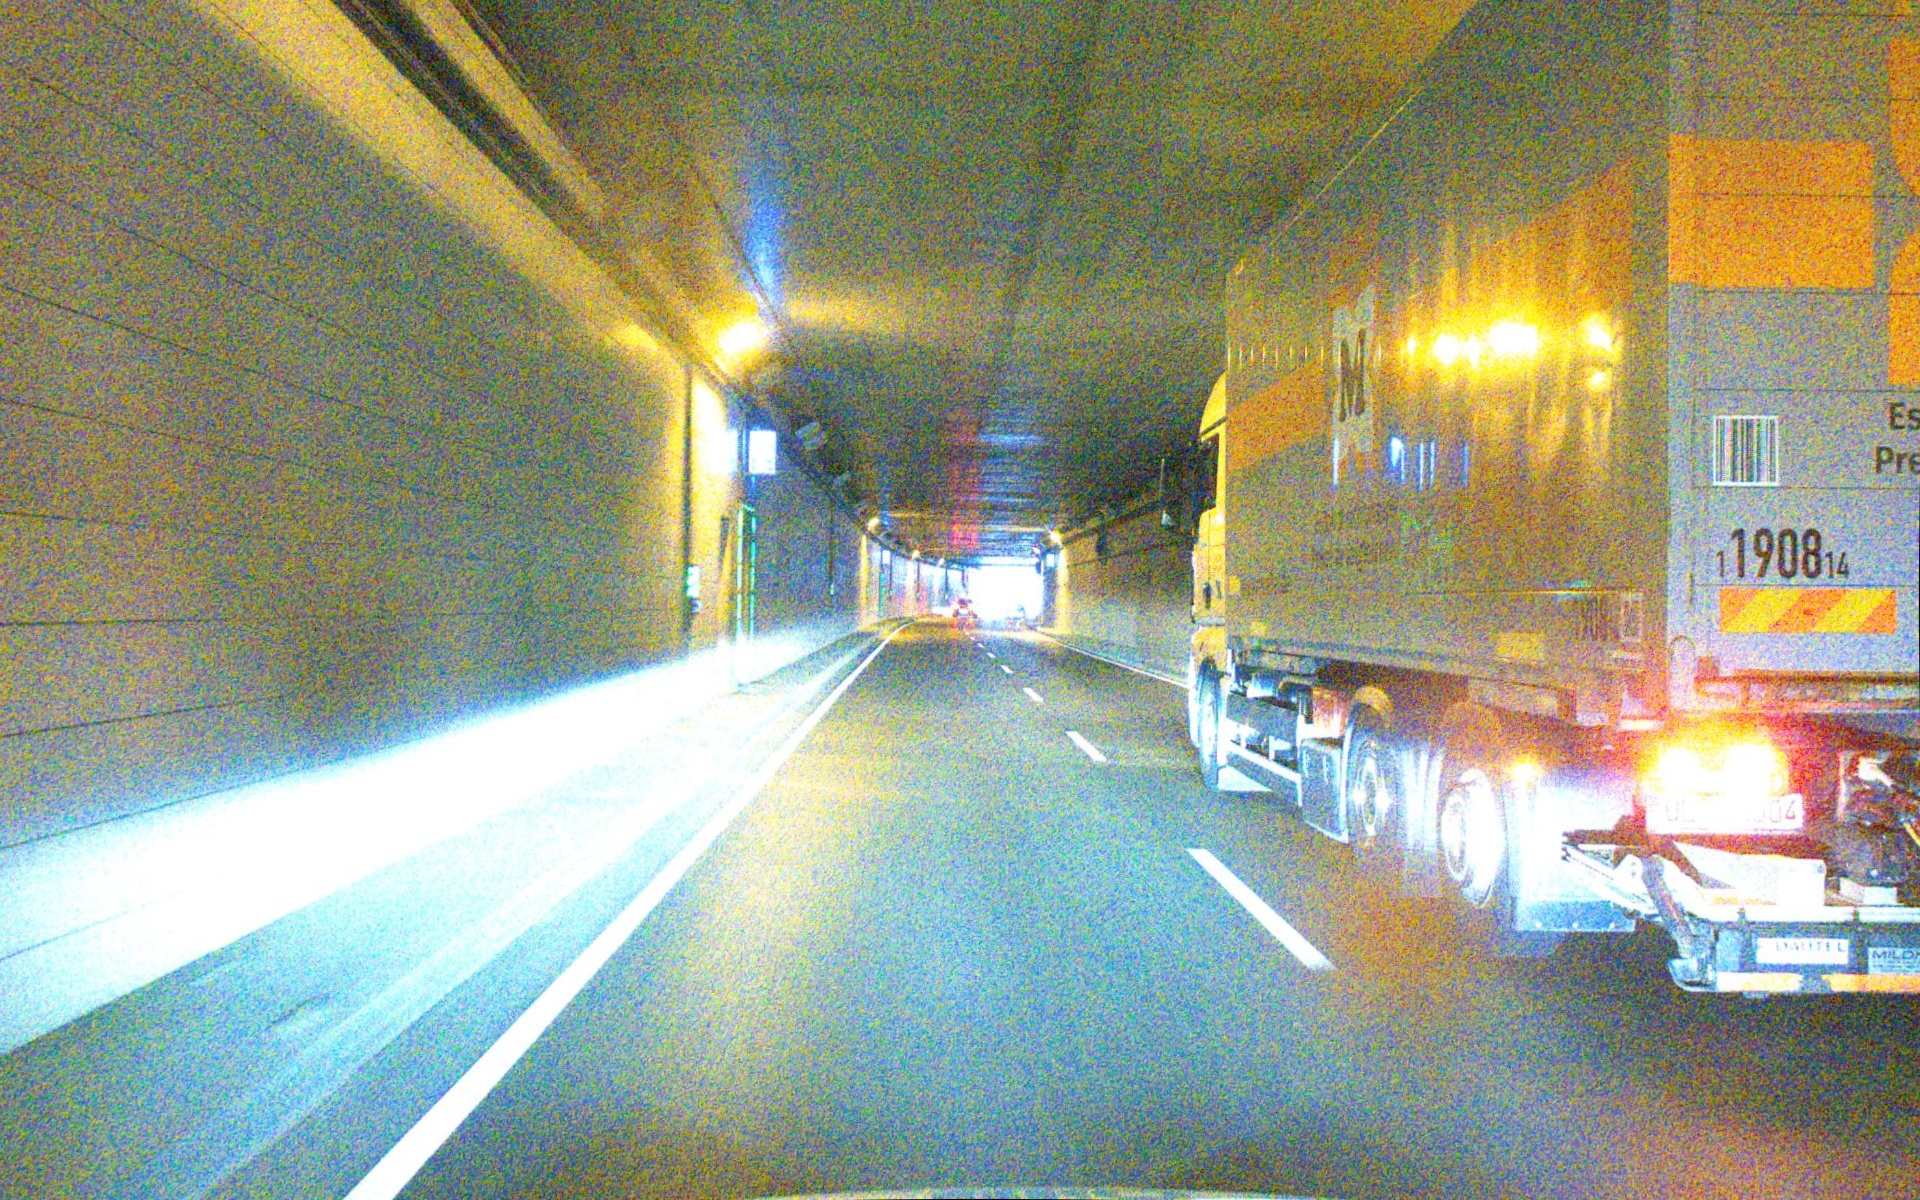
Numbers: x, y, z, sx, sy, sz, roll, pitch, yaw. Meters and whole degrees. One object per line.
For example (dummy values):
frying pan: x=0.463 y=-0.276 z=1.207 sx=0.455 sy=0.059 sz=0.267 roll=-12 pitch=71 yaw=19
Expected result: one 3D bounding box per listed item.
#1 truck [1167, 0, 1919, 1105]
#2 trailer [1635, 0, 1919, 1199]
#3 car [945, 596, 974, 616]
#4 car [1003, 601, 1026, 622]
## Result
truck: x=3.366 y=-0.484 z=9.882 sx=2.830 sy=3.982 sz=9.907 roll=1 pitch=0 yaw=-1
trailer: x=3.479 y=-0.490 z=0.427 sx=2.817 sy=3.926 sz=8.946 roll=1 pitch=0 yaw=-1
car: x=-0.029 y=0.454 z=126.028 sx=1.802 sy=1.413 sz=4.002 roll=1 pitch=-1 yaw=6
car: x=4.792 y=1.046 z=145.482 sx=1.830 sy=1.763 sz=4.001 roll=1 pitch=-1 yaw=3
